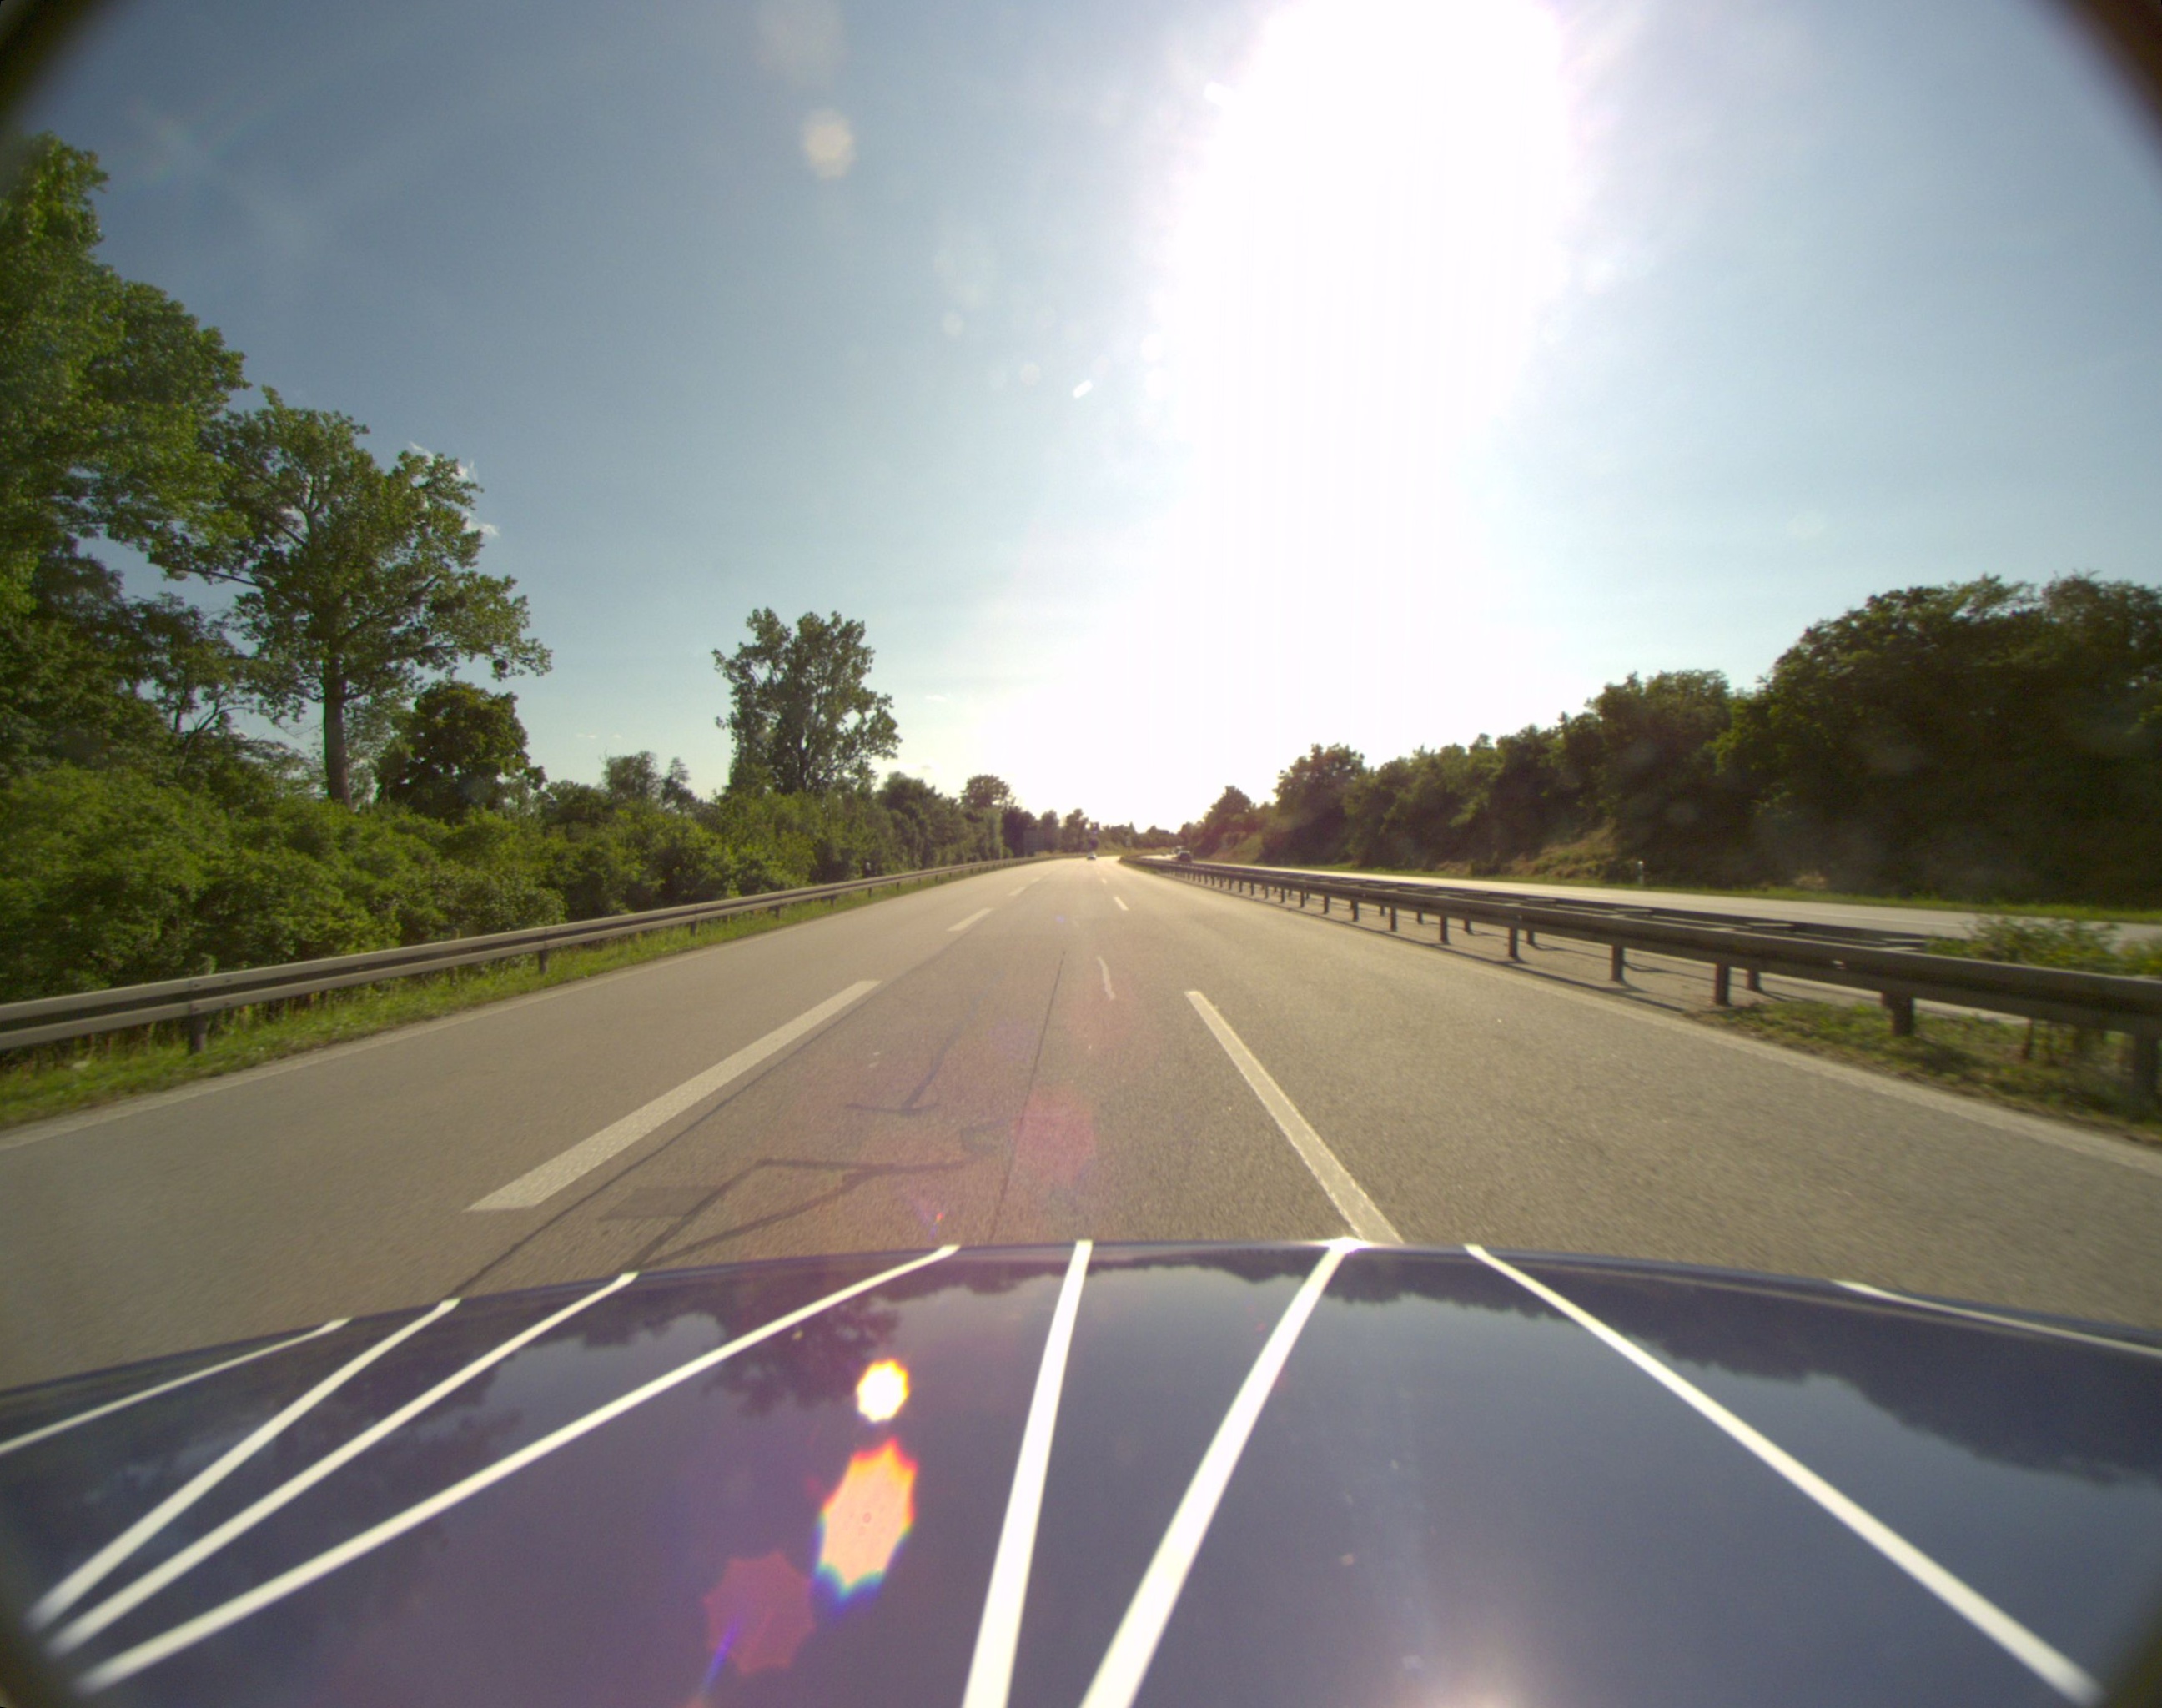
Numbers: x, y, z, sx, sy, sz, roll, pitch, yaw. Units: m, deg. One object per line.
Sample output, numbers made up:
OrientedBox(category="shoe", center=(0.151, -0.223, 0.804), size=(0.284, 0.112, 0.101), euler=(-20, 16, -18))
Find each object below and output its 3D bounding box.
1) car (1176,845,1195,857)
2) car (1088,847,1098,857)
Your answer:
OrientedBox(category="car", center=(15.222, -0.396, 110.792), size=(1.998, 1.635, 5.083), euler=(1, 1, 1))
OrientedBox(category="car", center=(2.411, -0.381, 150.081), size=(1.998, 2.002, 4.599), euler=(-1, 1, 1))
